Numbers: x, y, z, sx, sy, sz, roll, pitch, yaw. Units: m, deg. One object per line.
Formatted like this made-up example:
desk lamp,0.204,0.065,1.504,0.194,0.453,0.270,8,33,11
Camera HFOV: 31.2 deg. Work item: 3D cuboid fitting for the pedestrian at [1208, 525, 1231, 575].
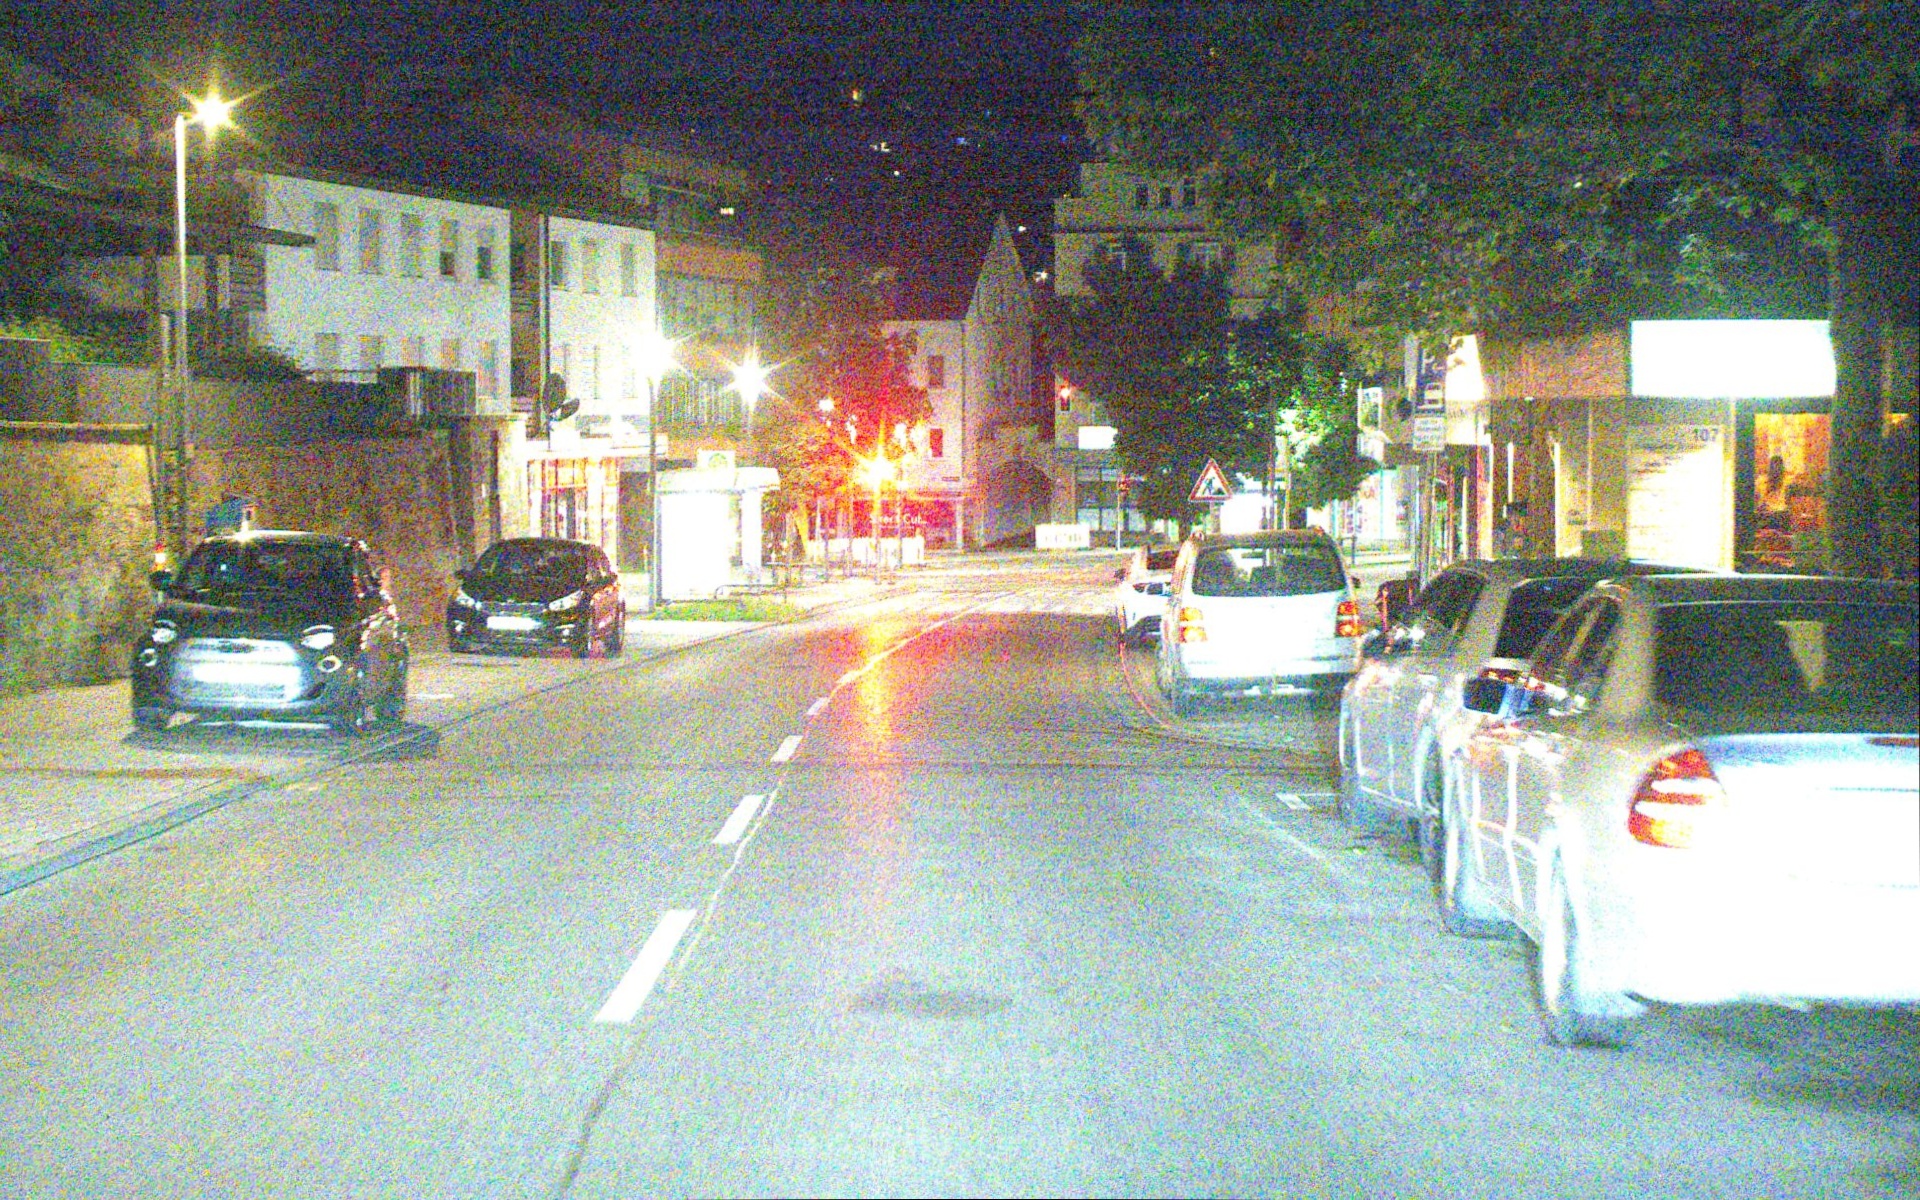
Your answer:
pedestrian,9.466,-1.832,125.258,0.716,1.789,0.737,1,0,12

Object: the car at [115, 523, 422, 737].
car,-5.304,0.215,26.793,1.691,1.518,3.691,1,0,-1

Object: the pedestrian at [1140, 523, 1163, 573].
pedestrian,6.937,-1.891,124.618,0.716,1.789,0.569,1,0,12

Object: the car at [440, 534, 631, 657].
car,-5.370,-0.090,43.930,1.692,1.432,4.128,2,1,3

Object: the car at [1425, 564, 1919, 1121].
car,2.649,0.639,11.533,1.677,1.442,4.611,2,1,2

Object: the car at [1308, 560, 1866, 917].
car,2.876,0.565,16.708,1.780,1.432,4.290,2,1,-2

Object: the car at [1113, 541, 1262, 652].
car,3.114,-0.081,47.849,1.857,1.437,4.594,-1,1,1

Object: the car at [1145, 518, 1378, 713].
car,2.707,0.093,31.747,1.787,1.636,4.380,-1,1,1
